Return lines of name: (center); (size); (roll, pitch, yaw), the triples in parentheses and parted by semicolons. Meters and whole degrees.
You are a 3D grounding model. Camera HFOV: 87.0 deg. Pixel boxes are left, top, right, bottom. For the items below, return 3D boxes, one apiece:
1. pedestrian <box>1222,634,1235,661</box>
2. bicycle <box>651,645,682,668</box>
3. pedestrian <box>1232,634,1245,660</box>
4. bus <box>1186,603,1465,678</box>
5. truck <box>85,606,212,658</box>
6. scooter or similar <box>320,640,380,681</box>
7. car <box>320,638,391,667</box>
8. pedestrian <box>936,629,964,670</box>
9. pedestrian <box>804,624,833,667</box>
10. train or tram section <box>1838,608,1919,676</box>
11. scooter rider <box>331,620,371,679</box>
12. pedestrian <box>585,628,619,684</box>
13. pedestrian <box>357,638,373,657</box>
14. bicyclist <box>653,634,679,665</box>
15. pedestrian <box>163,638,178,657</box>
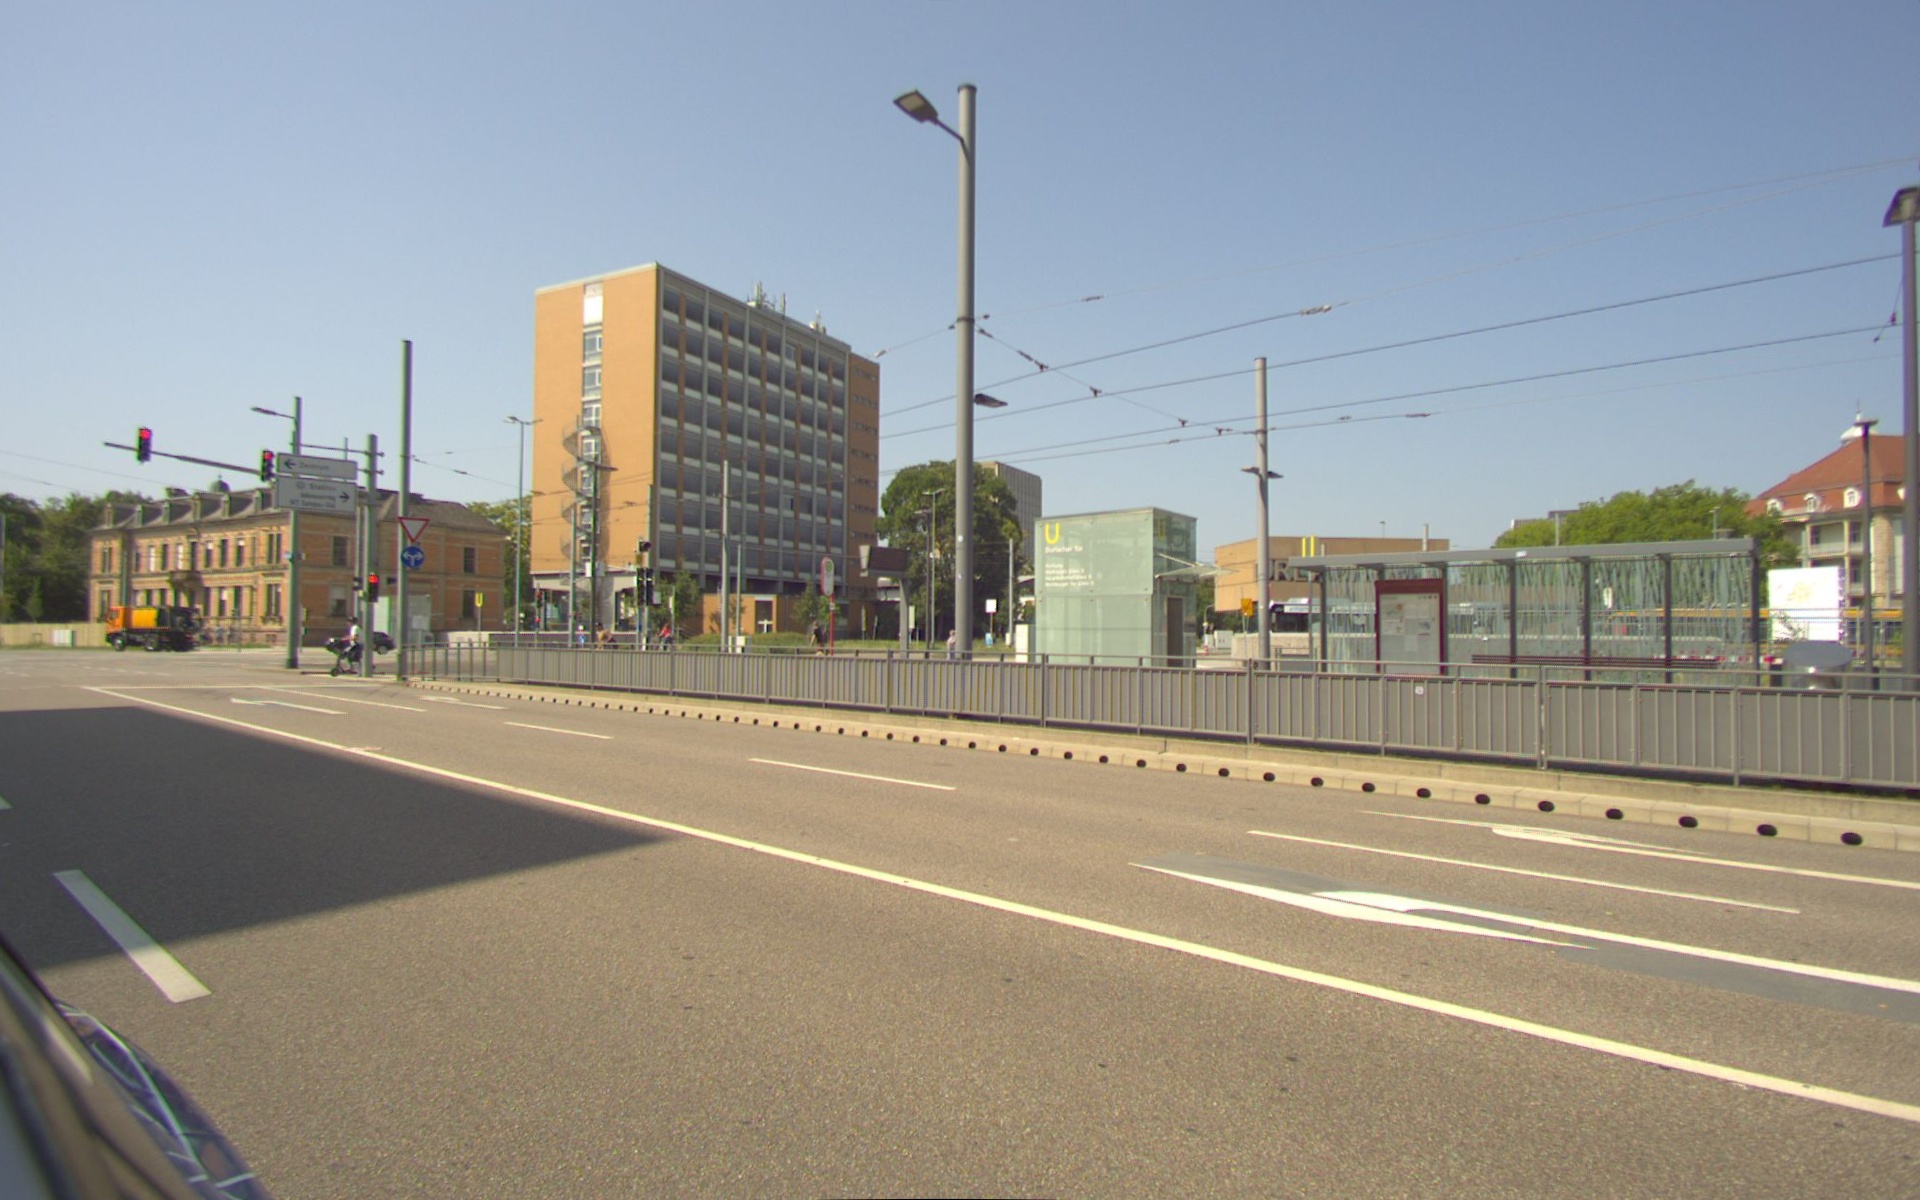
pedestrian: (17.272, 3.039, 65.081); (0.579, 1.689, 0.578); (-1, -4, -3)
bicycle: (-14.380, 2.748, 49.510); (1.914, 1.078, 0.606); (-2, -3, 45)
pedestrian: (17.986, 3.028, 65.356); (0.579, 1.689, 0.578); (-1, -4, -3)
bus: (17.519, 1.933, 48.884); (12.565, 3.356, 2.680); (-1, -2, -4)
truck: (-55.177, 2.242, 68.858); (7.120, 3.254, 3.029); (-2, -4, 14)
scooter or similar: (-17.727, 1.751, 29.433); (0.709, 1.157, 1.324); (-2, -3, 40)
car: (-40.134, 3.474, 67.280); (3.931, 1.808, 2.006); (1, -4, -30)
pedestrian: (-0.437, 2.178, 44.725); (0.959, 1.793, 0.774); (0, -2, 43)
pedestrian: (-6.076, 1.942, 43.521); (0.959, 1.793, 0.774); (0, -2, 43)
train or tram section: (62.658, 2.672, 61.054); (16.418, 3.951, 4.067); (1, -4, -4)
scooter rider: (-17.733, 1.447, 29.465); (0.778, 1.686, 0.763); (-2, -3, 40)
pedestrian: (-10.917, 1.697, 30.879); (0.795, 1.672, 0.570); (-3, -4, 23)
pedestrian: (-44.211, 3.498, 75.170); (0.787, 1.405, 0.836); (-2, -3, 43)
bicyclist: (-14.390, 2.411, 49.519); (0.980, 1.470, 0.865); (-2, -3, 44)
pedestrian: (-57.058, 3.418, 73.120); (0.803, 1.362, 0.720); (2, -3, -41)
